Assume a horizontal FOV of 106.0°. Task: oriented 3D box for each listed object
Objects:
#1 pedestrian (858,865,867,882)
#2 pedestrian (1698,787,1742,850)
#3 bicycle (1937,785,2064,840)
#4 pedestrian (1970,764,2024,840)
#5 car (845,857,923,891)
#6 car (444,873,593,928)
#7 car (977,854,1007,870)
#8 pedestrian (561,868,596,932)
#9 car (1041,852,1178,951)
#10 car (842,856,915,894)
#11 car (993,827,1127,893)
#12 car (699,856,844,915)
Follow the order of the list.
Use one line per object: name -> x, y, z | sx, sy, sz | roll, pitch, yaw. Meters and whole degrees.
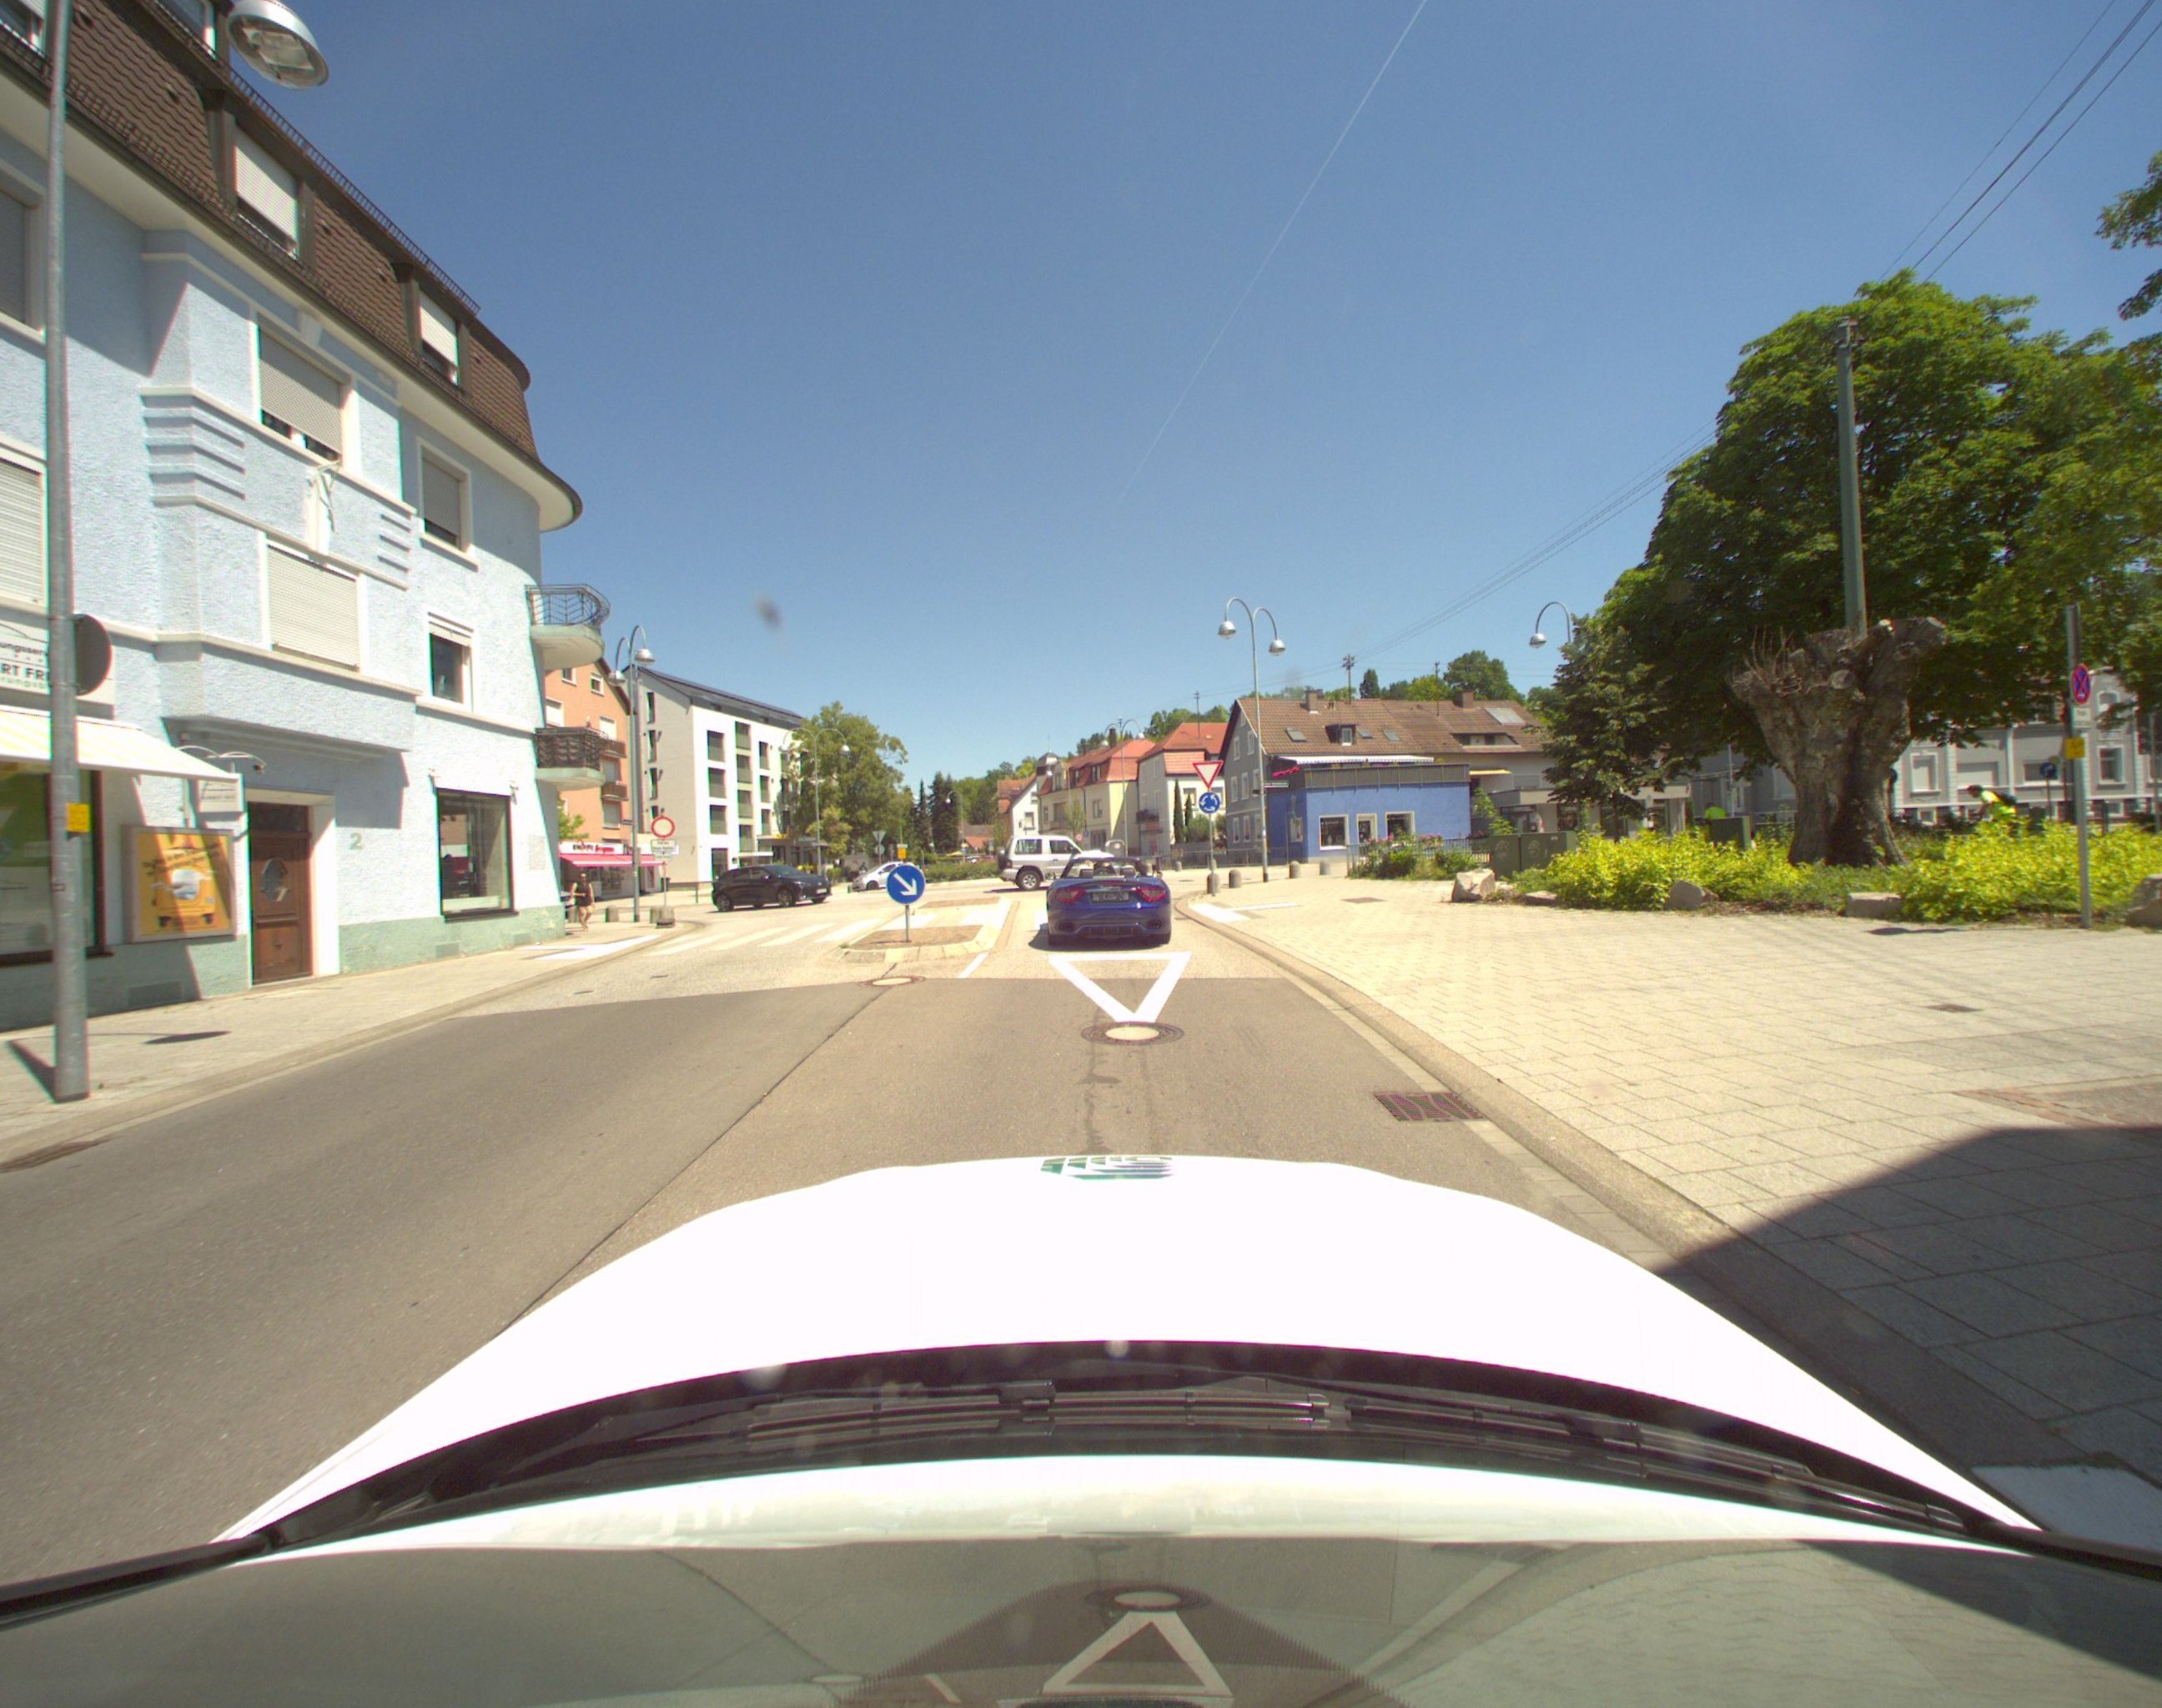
pedestrian -> -19.981, 1.783, 74.447 | 0.531, 1.575, 0.564 | -3, 0, 11
pedestrian -> 19.222, -1.060, 24.500 | 0.731, 1.799, 0.683 | -4, 1, 14
bicycle -> 20.572, -0.913, 18.251 | 0.751, 1.083, 1.828 | -3, 0, -39
pedestrian -> 20.559, -1.151, 18.276 | 0.751, 1.632, 0.710 | -3, 0, -39
car -> -10.016, 1.010, 41.492 | 3.484, 1.450, 1.564 | -4, 0, -33
car -> -21.010, 1.712, 30.560 | 4.175, 1.688, 1.838 | -3, 2, 0
car -> -9.964, 0.948, 90.702 | 1.862, 1.588, 3.961 | -4, 0, -30
pedestrian -> -12.989, 1.176, 21.048 | 0.508, 1.585, 0.550 | -4, 0, 42
car -> 0.483, 0.678, 13.704 | 1.903, 1.360, 4.287 | -2, 0, 2
car -> -8.373, 0.863, 33.384 | 2.004, 1.329, 4.164 | -4, 0, -26
car -> -0.748, 0.180, 27.297 | 4.216, 1.874, 1.758 | -4, 1, -10
car -> -10.642, 1.070, 28.115 | 4.220, 1.546, 1.818 | -5, 1, 12
